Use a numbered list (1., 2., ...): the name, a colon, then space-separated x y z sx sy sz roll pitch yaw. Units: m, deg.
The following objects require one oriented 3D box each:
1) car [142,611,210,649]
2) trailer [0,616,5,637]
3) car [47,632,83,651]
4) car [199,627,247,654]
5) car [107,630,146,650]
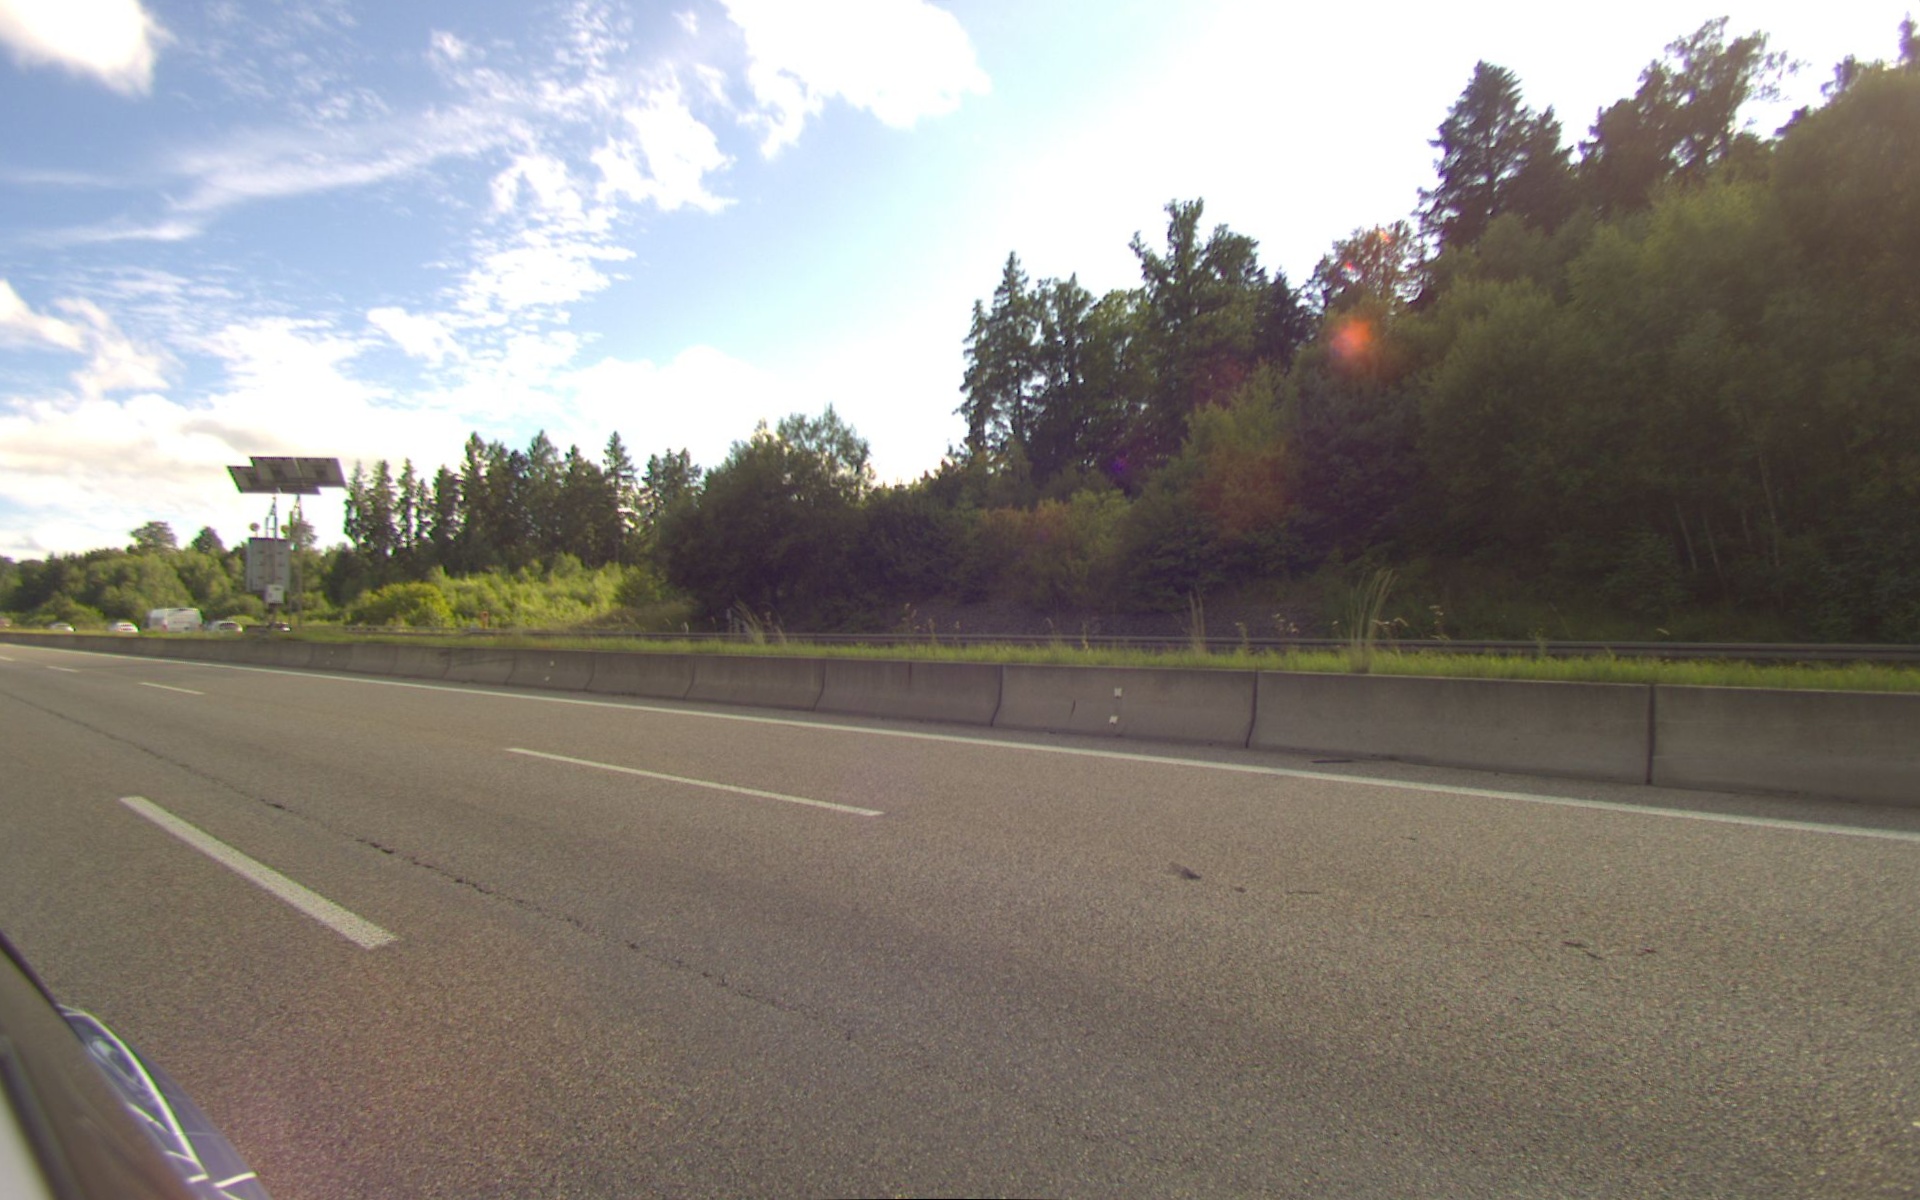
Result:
1. car: -51.600 1.967 66.538 5.827 2.364 2.551 -2 -1 42
2. trailer: -177.287 4.910 184.780 12.204 3.867 3.091 -2 -1 42
3. car: -107.439 4.948 121.463 5.964 2.155 2.551 -2 -1 42
4. car: -52.758 2.852 72.379 4.492 1.819 1.904 -2 -1 42
5. car: -92.074 4.410 111.774 5.964 2.155 2.551 -2 -1 42
